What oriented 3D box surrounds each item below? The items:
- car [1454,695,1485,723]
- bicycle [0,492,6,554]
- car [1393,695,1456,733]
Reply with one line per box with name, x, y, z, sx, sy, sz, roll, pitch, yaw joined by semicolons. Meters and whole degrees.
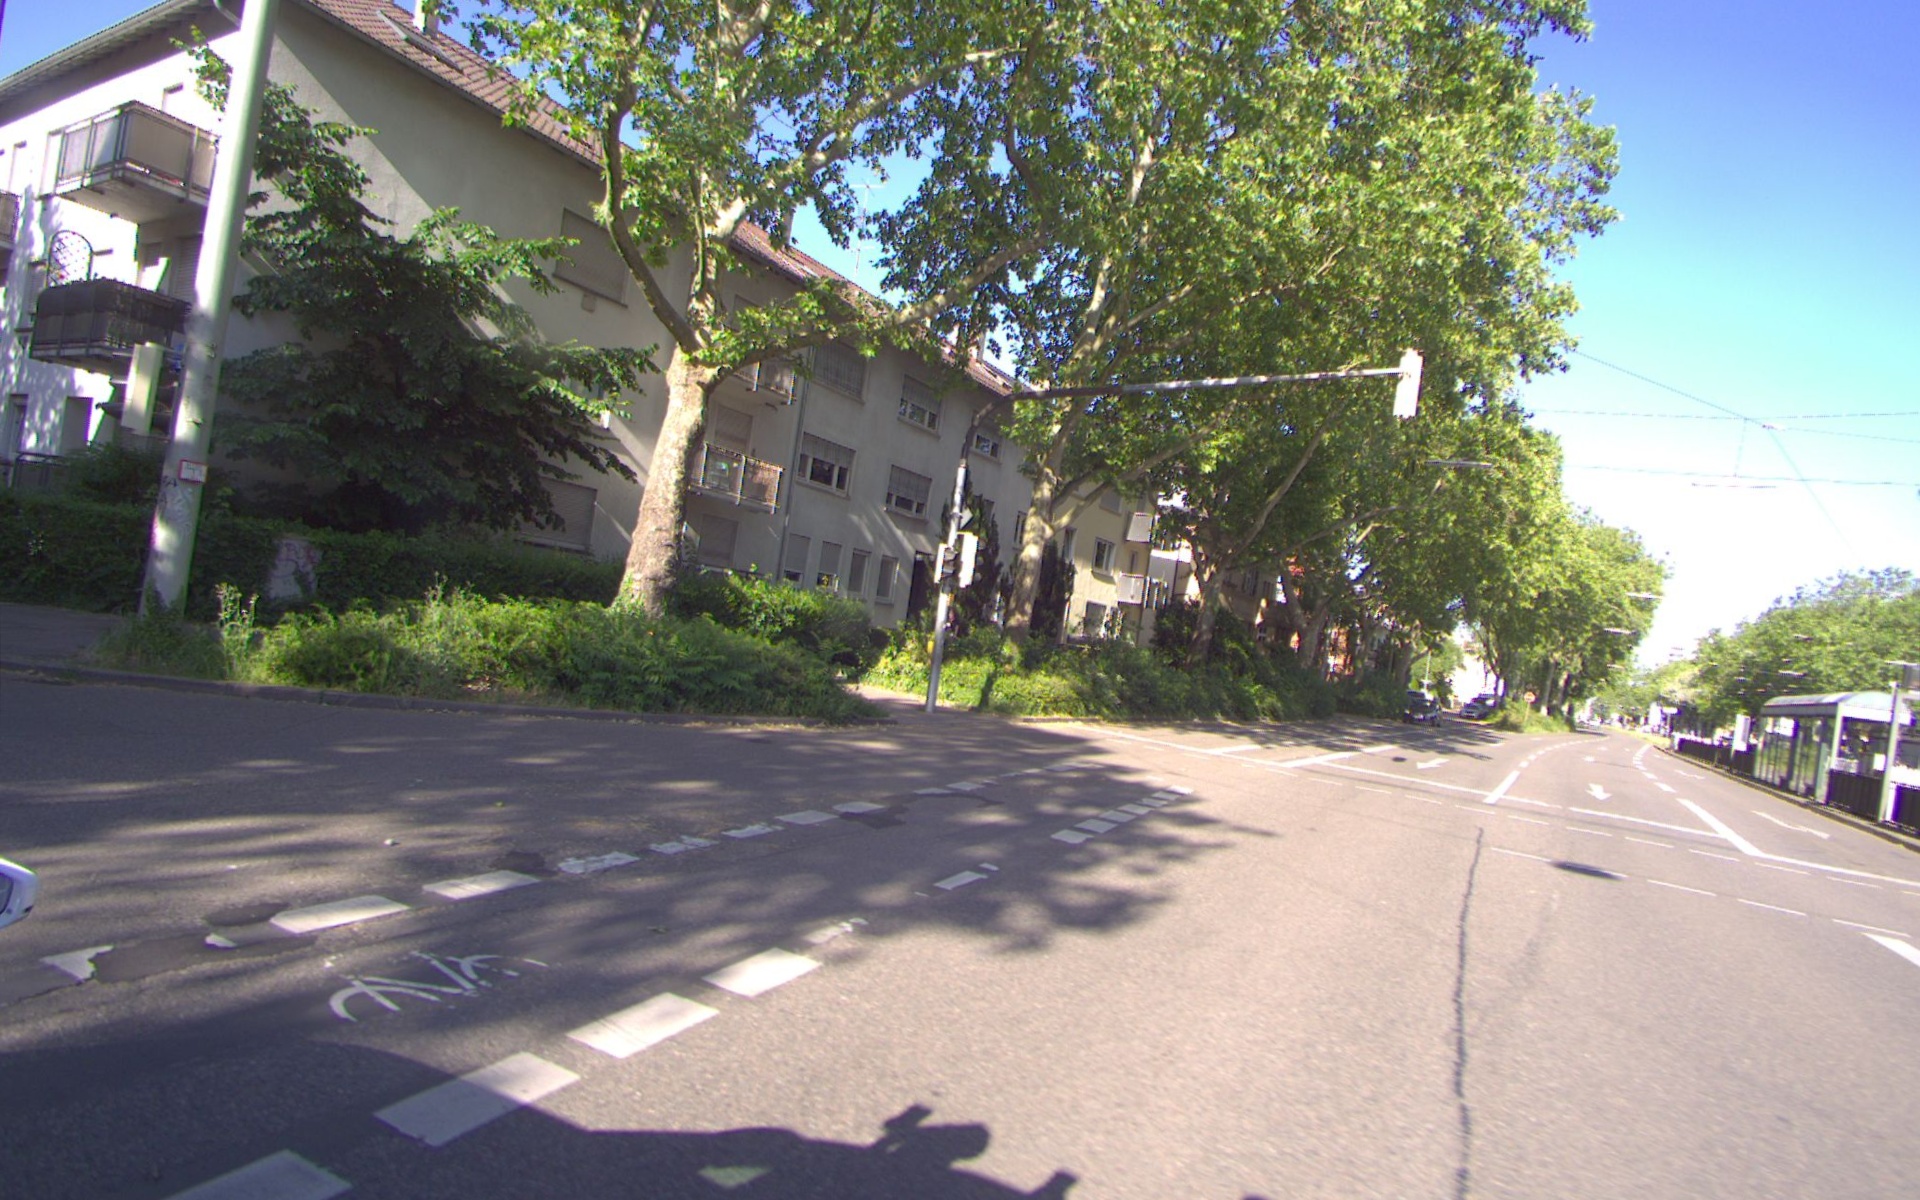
car;46.730;10.027;92.198;1.967;2.035;3.999;9;-3;32
bicycle;-19.038;-1.511;18.993;0.633;1.202;1.574;7;2;-9
car;24.923;6.108;53.923;1.805;1.424;3.873;8;-3;44
